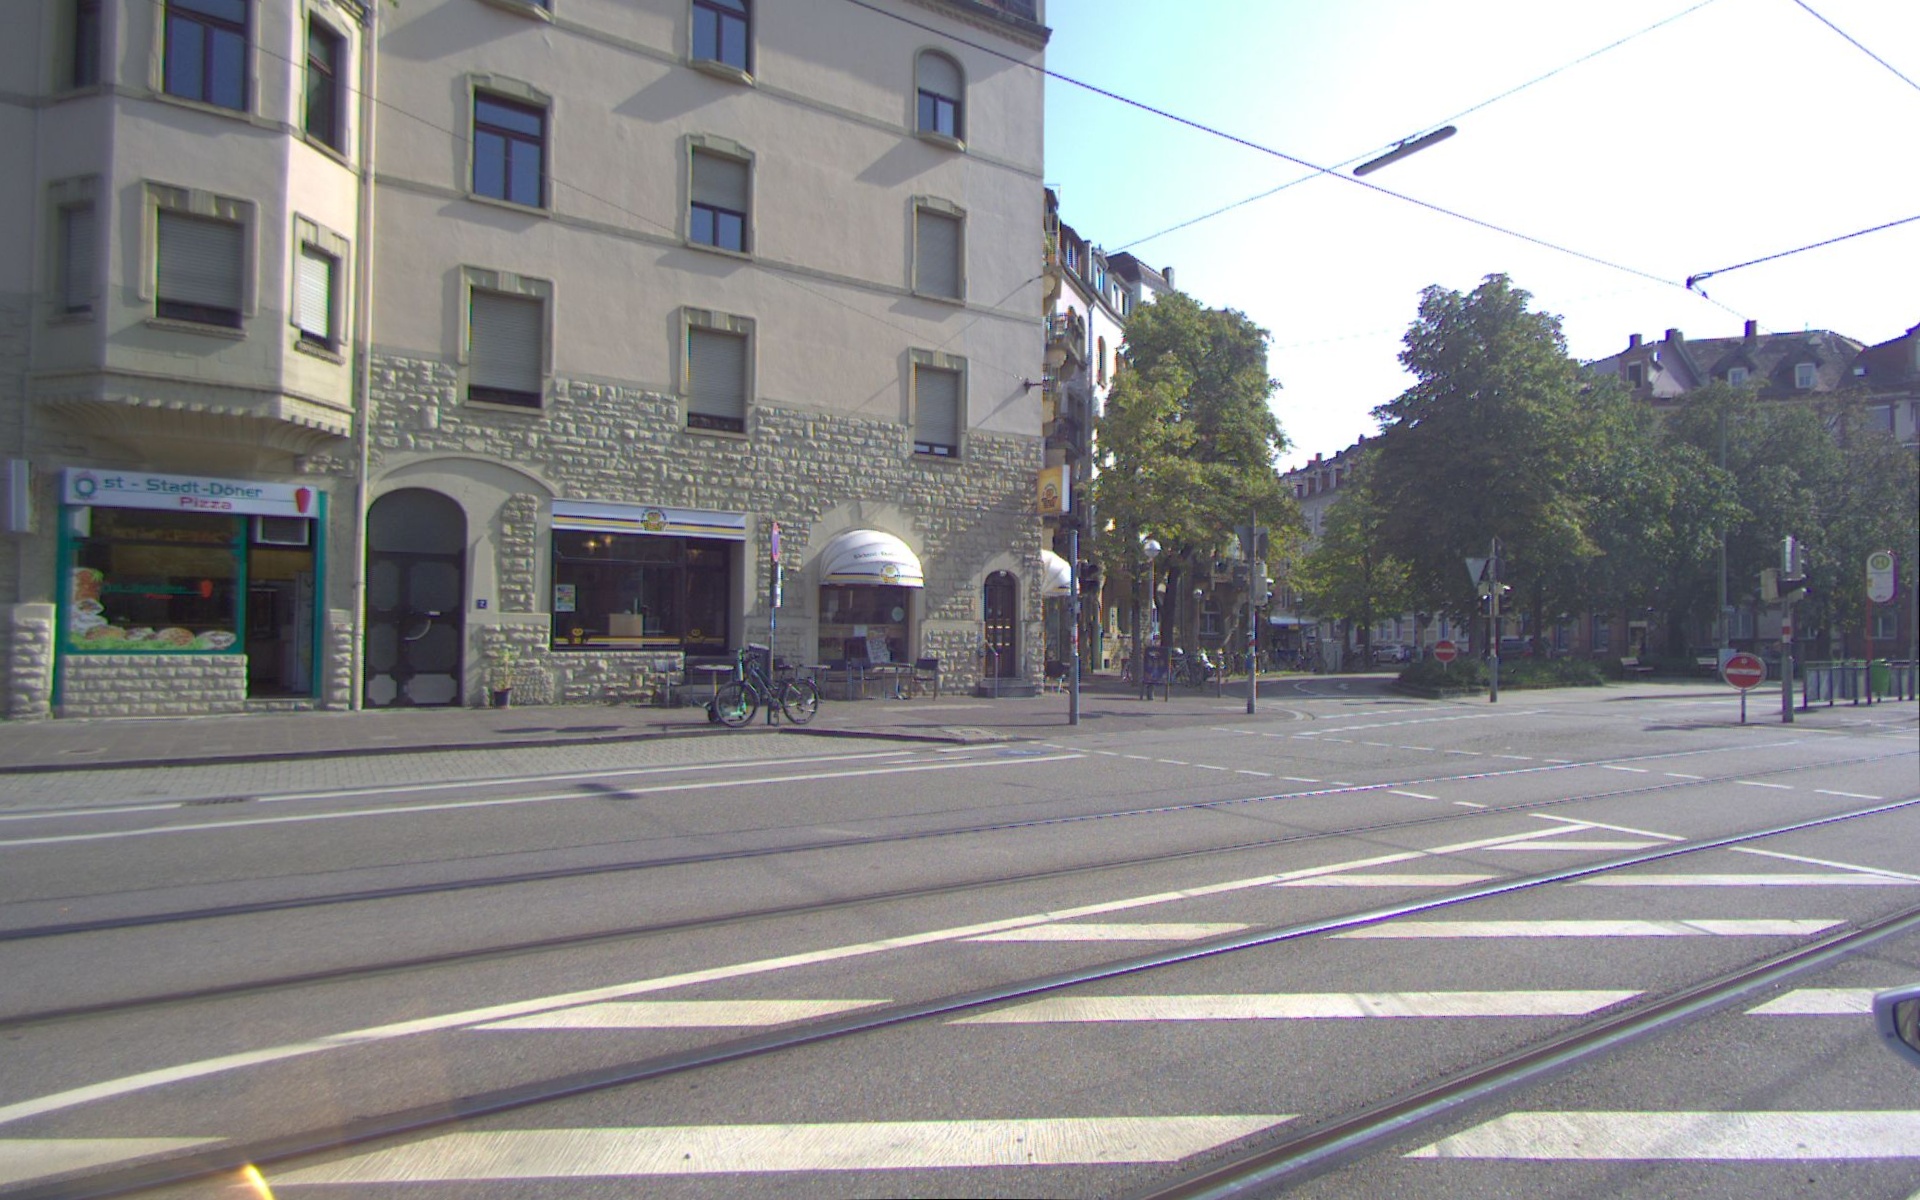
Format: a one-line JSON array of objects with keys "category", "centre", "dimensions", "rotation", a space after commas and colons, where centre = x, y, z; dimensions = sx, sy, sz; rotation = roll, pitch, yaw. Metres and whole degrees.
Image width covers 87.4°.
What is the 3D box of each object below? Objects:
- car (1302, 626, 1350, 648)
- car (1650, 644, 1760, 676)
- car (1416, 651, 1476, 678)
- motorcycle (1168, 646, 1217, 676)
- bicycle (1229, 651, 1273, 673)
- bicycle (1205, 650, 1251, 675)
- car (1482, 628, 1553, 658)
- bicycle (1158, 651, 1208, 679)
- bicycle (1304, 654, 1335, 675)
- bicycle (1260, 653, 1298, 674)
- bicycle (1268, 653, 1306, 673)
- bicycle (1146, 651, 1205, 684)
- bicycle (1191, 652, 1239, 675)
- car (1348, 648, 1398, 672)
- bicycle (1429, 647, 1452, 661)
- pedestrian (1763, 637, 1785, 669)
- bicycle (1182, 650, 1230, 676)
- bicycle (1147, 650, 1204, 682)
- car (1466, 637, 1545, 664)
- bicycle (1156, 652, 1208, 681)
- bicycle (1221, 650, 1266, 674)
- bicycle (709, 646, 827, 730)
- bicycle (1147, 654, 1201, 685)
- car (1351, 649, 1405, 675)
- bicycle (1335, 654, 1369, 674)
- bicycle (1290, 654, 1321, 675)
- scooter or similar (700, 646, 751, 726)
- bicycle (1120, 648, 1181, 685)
[{"category": "car", "centre": [32.130, 3.274, 88.313], "dimensions": [1.968, 1.852, 3.986], "rotation": [1, -2, -17]}, {"category": "car", "centre": [39.013, 3.110, 52.750], "dimensions": [4.253, 1.589, 1.999], "rotation": [-1, -2, 24]}, {"category": "car", "centre": [34.858, 4.611, 72.099], "dimensions": [1.964, 1.852, 3.995], "rotation": [1, -2, -9]}, {"category": "motorcycle", "centre": [9.451, 2.460, 40.808], "dimensions": [1.840, 1.169, 0.607], "rotation": [0, -2, 26]}, {"category": "bicycle", "centre": [13.437, 2.845, 46.349], "dimensions": [1.851, 0.947, 0.635], "rotation": [-1, -3, 42]}, {"category": "bicycle", "centre": [11.718, 2.728, 43.967], "dimensions": [1.865, 0.993, 0.685], "rotation": [0, -2, 26]}, {"category": "car", "centre": [35.839, 2.763, 64.713], "dimensions": [1.964, 1.852, 3.995], "rotation": [1, -2, -9]}, {"category": "bicycle", "centre": [8.271, 2.408, 37.267], "dimensions": [1.769, 0.996, 0.660], "rotation": [0, -2, 19]}, {"category": "bicycle", "centre": [17.731, 3.175, 49.547], "dimensions": [1.750, 0.990, 0.422], "rotation": [2, -2, -32]}, {"category": "bicycle", "centre": [15.907, 3.158, 50.155], "dimensions": [1.742, 0.990, 0.518], "rotation": [-2, -3, 38]}, {"category": "bicycle", "centre": [16.497, 3.176, 50.670], "dimensions": [1.742, 0.990, 0.603], "rotation": [-2, -3, 37]}, {"category": "bicycle", "centre": [7.124, 2.224, 33.289], "dimensions": [1.840, 1.017, 0.570], "rotation": [1, -2, 6]}, {"category": "bicycle", "centre": [10.835, 2.696, 42.714], "dimensions": [1.876, 0.947, 0.737], "rotation": [0, -2, 26]}, {"category": "car", "centre": [33.432, 4.817, 81.486], "dimensions": [1.964, 1.852, 3.995], "rotation": [1, -2, -9]}, {"category": "bicycle", "centre": [33.288, 3.734, 69.656], "dimensions": [0.538, 0.970, 1.855], "rotation": [0, -2, -6]}, {"category": "pedestrian", "centre": [45.887, 2.988, 56.612], "dimensions": [0.756, 1.753, 0.752], "rotation": [0, -2, 21]}, {"category": "bicycle", "centre": [10.185, 2.596, 41.616], "dimensions": [1.843, 1.041, 0.663], "rotation": [0, -2, 26]}, {"category": "bicycle", "centre": [7.463, 2.277, 34.747], "dimensions": [1.841, 1.047, 0.570], "rotation": [0, -2, 21]}, {"category": "car", "centre": [33.238, 3.085, 61.328], "dimensions": [1.964, 1.589, 4.330], "rotation": [1, -2, -10]}, {"category": "bicycle", "centre": [7.989, 2.384, 36.086], "dimensions": [1.769, 0.997, 0.570], "rotation": [0, -2, 19]}, {"category": "bicycle", "centre": [12.694, 2.772, 44.974], "dimensions": [1.865, 0.993, 0.685], "rotation": [0, -2, 26]}, {"category": "bicycle", "centre": [-2.981, 1.348, 15.765], "dimensions": [1.842, 1.242, 0.449], "rotation": [2, -3, -41]}, {"category": "bicycle", "centre": [6.782, 2.209, 31.848], "dimensions": [1.577, 0.932, 0.479], "rotation": [1, -2, 0]}, {"category": "car", "centre": [31.409, 4.628, 75.607], "dimensions": [1.964, 1.852, 3.995], "rotation": [1, -2, -9]}, {"category": "bicycle", "centre": [20.210, 3.276, 51.818], "dimensions": [0.596, 0.990, 1.761], "rotation": [1, -2, -23]}, {"category": "bicycle", "centre": [17.054, 3.163, 49.566], "dimensions": [1.750, 0.990, 0.422], "rotation": [2, -2, -32]}, {"category": "scooter or similar", "centre": [-3.719, 1.344, 15.987], "dimensions": [0.359, 1.213, 1.035], "rotation": [0, -2, 13]}, {"category": "bicycle", "centre": [6.157, 2.154, 32.508], "dimensions": [1.844, 1.127, 0.569], "rotation": [2, -2, -10]}]
